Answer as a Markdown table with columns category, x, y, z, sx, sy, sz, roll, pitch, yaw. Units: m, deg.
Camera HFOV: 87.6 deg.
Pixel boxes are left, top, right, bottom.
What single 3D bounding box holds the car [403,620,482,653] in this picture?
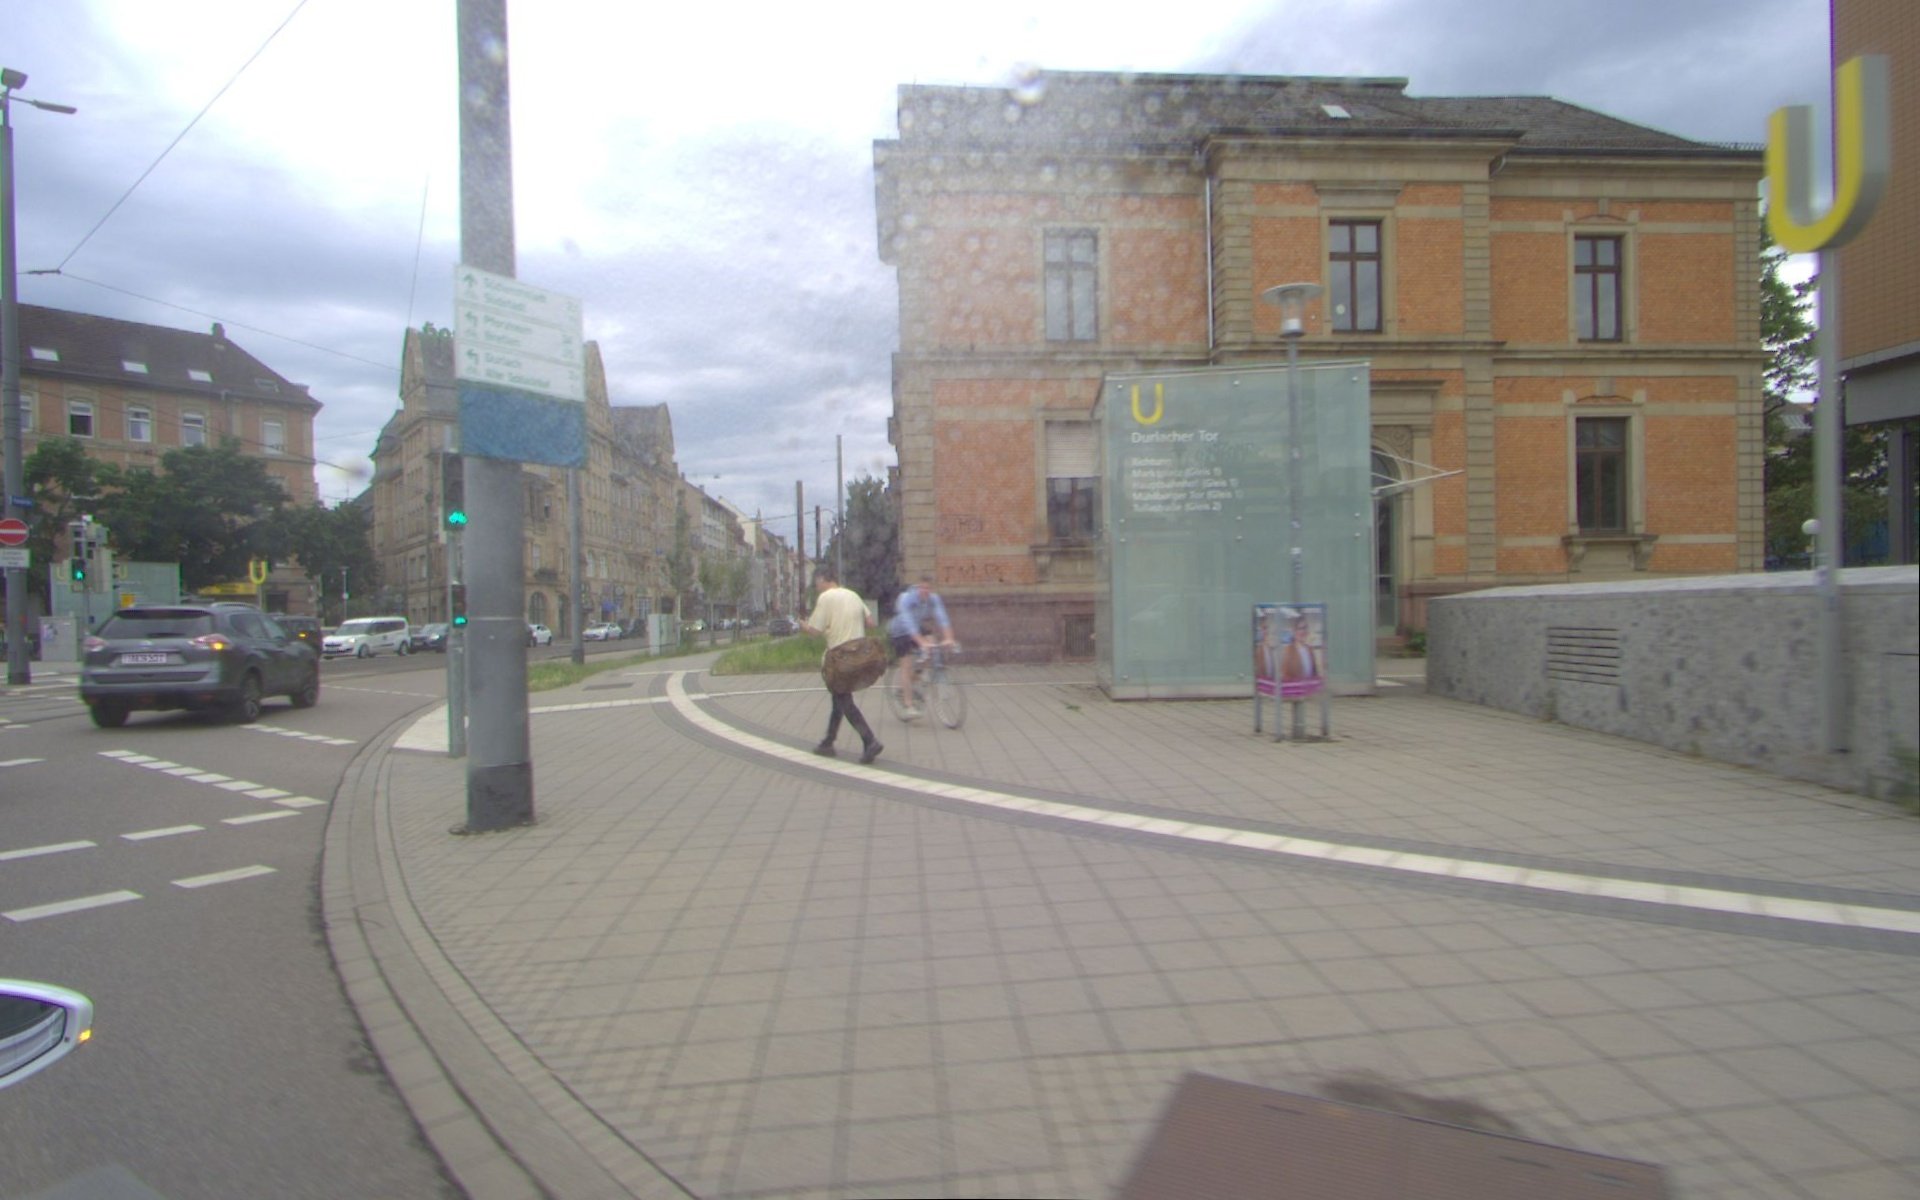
| category | x | y | z | sx | sy | sz | roll | pitch | yaw |
| --- | --- | --- | --- | --- | --- | --- | --- | --- | --- |
| car | -27.275 | 1.885 | 52.948 | 1.833 | 1.554 | 4.303 | -3 | -1 | 1 |

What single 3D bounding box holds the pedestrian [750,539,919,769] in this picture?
| category | x | y | z | sx | sy | sz | roll | pitch | yaw |
| --- | --- | --- | --- | --- | --- | --- | --- | --- | --- |
| pedestrian | -1.139 | 0.456 | 8.990 | 1.273 | 1.892 | 0.879 | -1 | 0 | 44 |

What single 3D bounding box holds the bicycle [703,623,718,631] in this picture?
| category | x | y | z | sx | sy | sz | roll | pitch | yaw |
| --- | --- | --- | --- | --- | --- | --- | --- | --- | --- |
| bicycle | -32.000 | 3.445 | 128.358 | 1.892 | 1.014 | 0.463 | -1 | 0 | -11 |

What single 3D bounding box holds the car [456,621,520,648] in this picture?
| category | x | y | z | sx | sy | sz | roll | pitch | yaw |
| --- | --- | --- | --- | --- | --- | --- | --- | --- | --- |
| car | -27.486 | 1.996 | 58.444 | 1.833 | 1.417 | 3.895 | -3 | -1 | 0 |

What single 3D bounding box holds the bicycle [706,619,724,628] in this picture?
| category | x | y | z | sx | sy | sz | roll | pitch | yaw |
| --- | --- | --- | --- | --- | --- | --- | --- | --- | --- |
| bicycle | -32.737 | 3.148 | 133.852 | 2.196 | 1.141 | 0.503 | -1 | 0 | -11 |

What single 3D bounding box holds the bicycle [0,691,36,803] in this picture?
| category | x | y | z | sx | sy | sz | roll | pitch | yaw |
| --- | --- | --- | --- | --- | --- | --- | --- | --- | --- |
| bicycle | -8.531 | 1.193 | 8.235 | 2.038 | 0.859 | 0.556 | -1 | 0 | 22 |

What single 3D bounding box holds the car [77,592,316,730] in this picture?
| category | x | y | z | sx | sy | sz | roll | pitch | yaw |
| --- | --- | --- | --- | --- | --- | --- | --- | --- | --- |
| car | -11.196 | 0.818 | 15.015 | 1.725 | 1.779 | 3.914 | 0 | -1 | -20 |

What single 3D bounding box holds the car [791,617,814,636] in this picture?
| category | x | y | z | sx | sy | sz | roll | pitch | yaw |
| --- | --- | --- | --- | --- | --- | --- | --- | --- | --- |
| car | -14.655 | 2.478 | 93.373 | 1.727 | 1.595 | 3.930 | -3 | -1 | -4 |

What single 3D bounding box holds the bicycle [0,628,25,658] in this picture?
| category | x | y | z | sx | sy | sz | roll | pitch | yaw |
| --- | --- | --- | --- | --- | --- | --- | --- | --- | --- |
| bicycle | -44.829 | 1.998 | 46.989 | 0.949 | 1.371 | 3.100 | 0 | -2 | -35 |

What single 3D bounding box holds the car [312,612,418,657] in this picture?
| category | x | y | z | sx | sy | sz | roll | pitch | yaw |
| --- | --- | --- | --- | --- | --- | --- | --- | --- | --- |
| car | -27.643 | 1.564 | 46.738 | 1.832 | 1.941 | 5.101 | -1 | -1 | 1 |

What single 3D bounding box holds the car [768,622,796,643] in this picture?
| category | x | y | z | sx | sy | sz | roll | pitch | yaw |
| --- | --- | --- | --- | --- | --- | --- | --- | --- | --- |
| car | -13.665 | 2.487 | 76.967 | 1.611 | 1.452 | 3.930 | -3 | -1 | -4 |

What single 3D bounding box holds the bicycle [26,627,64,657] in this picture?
| category | x | y | z | sx | sy | sz | roll | pitch | yaw |
| --- | --- | --- | --- | --- | --- | --- | --- | --- | --- |
| bicycle | -44.028 | 2.030 | 48.222 | 0.949 | 1.371 | 3.100 | 0 | -2 | -35 |

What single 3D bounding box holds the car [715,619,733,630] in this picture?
| category | x | y | z | sx | sy | sz | roll | pitch | yaw |
| --- | --- | --- | --- | --- | --- | --- | --- | --- | --- |
| car | -32.513 | 3.368 | 138.108 | 1.747 | 1.524 | 4.402 | -1 | -1 | -4 |

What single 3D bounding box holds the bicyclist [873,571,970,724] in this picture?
| category | x | y | z | sx | sy | sz | roll | pitch | yaw |
| --- | --- | --- | --- | --- | --- | --- | --- | --- | --- |
| bicyclist | -0.430 | 0.485 | 10.986 | 0.682 | 1.582 | 0.921 | -3 | 2 | -29 |

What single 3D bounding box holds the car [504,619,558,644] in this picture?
| category | x | y | z | sx | sy | sz | roll | pitch | yaw |
| --- | --- | --- | --- | --- | --- | --- | --- | --- | --- |
| car | -27.522 | 2.009 | 64.377 | 1.718 | 1.397 | 4.362 | -4 | -1 | -2 |

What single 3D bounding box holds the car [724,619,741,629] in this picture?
| category | x | y | z | sx | sy | sz | roll | pitch | yaw |
| --- | --- | --- | --- | --- | --- | --- | --- | --- | --- |
| car | -32.890 | 3.453 | 144.683 | 1.747 | 1.524 | 4.402 | -1 | -1 | -4 |

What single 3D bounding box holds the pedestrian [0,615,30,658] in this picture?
| category | x | y | z | sx | sy | sz | roll | pitch | yaw |
| --- | --- | --- | --- | --- | --- | --- | --- | --- | --- |
| pedestrian | -39.479 | 1.511 | 41.725 | 0.592 | 1.750 | 0.910 | -1 | 0 | 22 |

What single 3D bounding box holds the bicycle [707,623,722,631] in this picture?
| category | x | y | z | sx | sy | sz | roll | pitch | yaw |
| --- | --- | --- | --- | --- | --- | --- | --- | --- | --- |
| bicycle | -32.477 | 3.537 | 132.427 | 1.935 | 1.014 | 0.463 | -1 | 0 | -11 |

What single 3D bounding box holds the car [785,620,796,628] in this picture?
| category | x | y | z | sx | sy | sz | roll | pitch | yaw |
| --- | --- | --- | --- | --- | --- | --- | --- | --- | --- |
| car | -33.841 | 4.723 | 200.055 | 1.730 | 1.468 | 4.614 | -1 | -1 | -3 |

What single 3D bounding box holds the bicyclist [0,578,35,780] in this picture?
| category | x | y | z | sx | sy | sz | roll | pitch | yaw |
| --- | --- | --- | --- | --- | --- | --- | --- | --- | --- |
| bicyclist | -8.511 | 0.657 | 8.237 | 1.299 | 1.642 | 0.827 | -1 | 0 | 22 |

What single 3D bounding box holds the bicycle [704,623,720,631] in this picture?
| category | x | y | z | sx | sy | sz | roll | pitch | yaw |
| --- | --- | --- | --- | --- | --- | --- | --- | --- | --- |
| bicycle | -32.030 | 3.448 | 129.192 | 1.935 | 1.014 | 0.463 | -1 | 0 | -11 |

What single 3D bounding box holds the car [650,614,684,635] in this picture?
| category | x | y | z | sx | sy | sz | roll | pitch | yaw |
| --- | --- | --- | --- | --- | --- | --- | --- | --- | --- |
| car | -26.713 | 2.213 | 91.518 | 1.833 | 1.728 | 4.909 | -2 | -1 | -2 |

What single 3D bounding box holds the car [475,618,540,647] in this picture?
| category | x | y | z | sx | sy | sz | roll | pitch | yaw |
| --- | --- | --- | --- | --- | --- | --- | --- | --- | --- |
| car | -24.226 | 1.738 | 53.785 | 1.661 | 1.461 | 4.001 | -1 | -1 | 0 |

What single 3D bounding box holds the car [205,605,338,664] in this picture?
| category | x | y | z | sx | sy | sz | roll | pitch | yaw |
| --- | --- | --- | --- | --- | --- | --- | --- | --- | --- |
| car | -24.337 | 1.190 | 35.619 | 1.661 | 1.925 | 4.387 | -1 | -1 | 0 |

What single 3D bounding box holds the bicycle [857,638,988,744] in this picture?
| category | x | y | z | sx | sy | sz | roll | pitch | yaw |
| --- | --- | --- | --- | --- | --- | --- | --- | --- | --- |
| bicycle | -0.455 | 0.955 | 11.029 | 0.662 | 0.946 | 1.850 | -4 | 2 | -28 |

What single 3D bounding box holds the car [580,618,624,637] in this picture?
| category | x | y | z | sx | sy | sz | roll | pitch | yaw |
| --- | --- | --- | --- | --- | --- | --- | --- | --- | --- |
| car | -27.413 | 2.068 | 76.852 | 1.895 | 1.398 | 4.258 | -1 | -1 | -1 |
